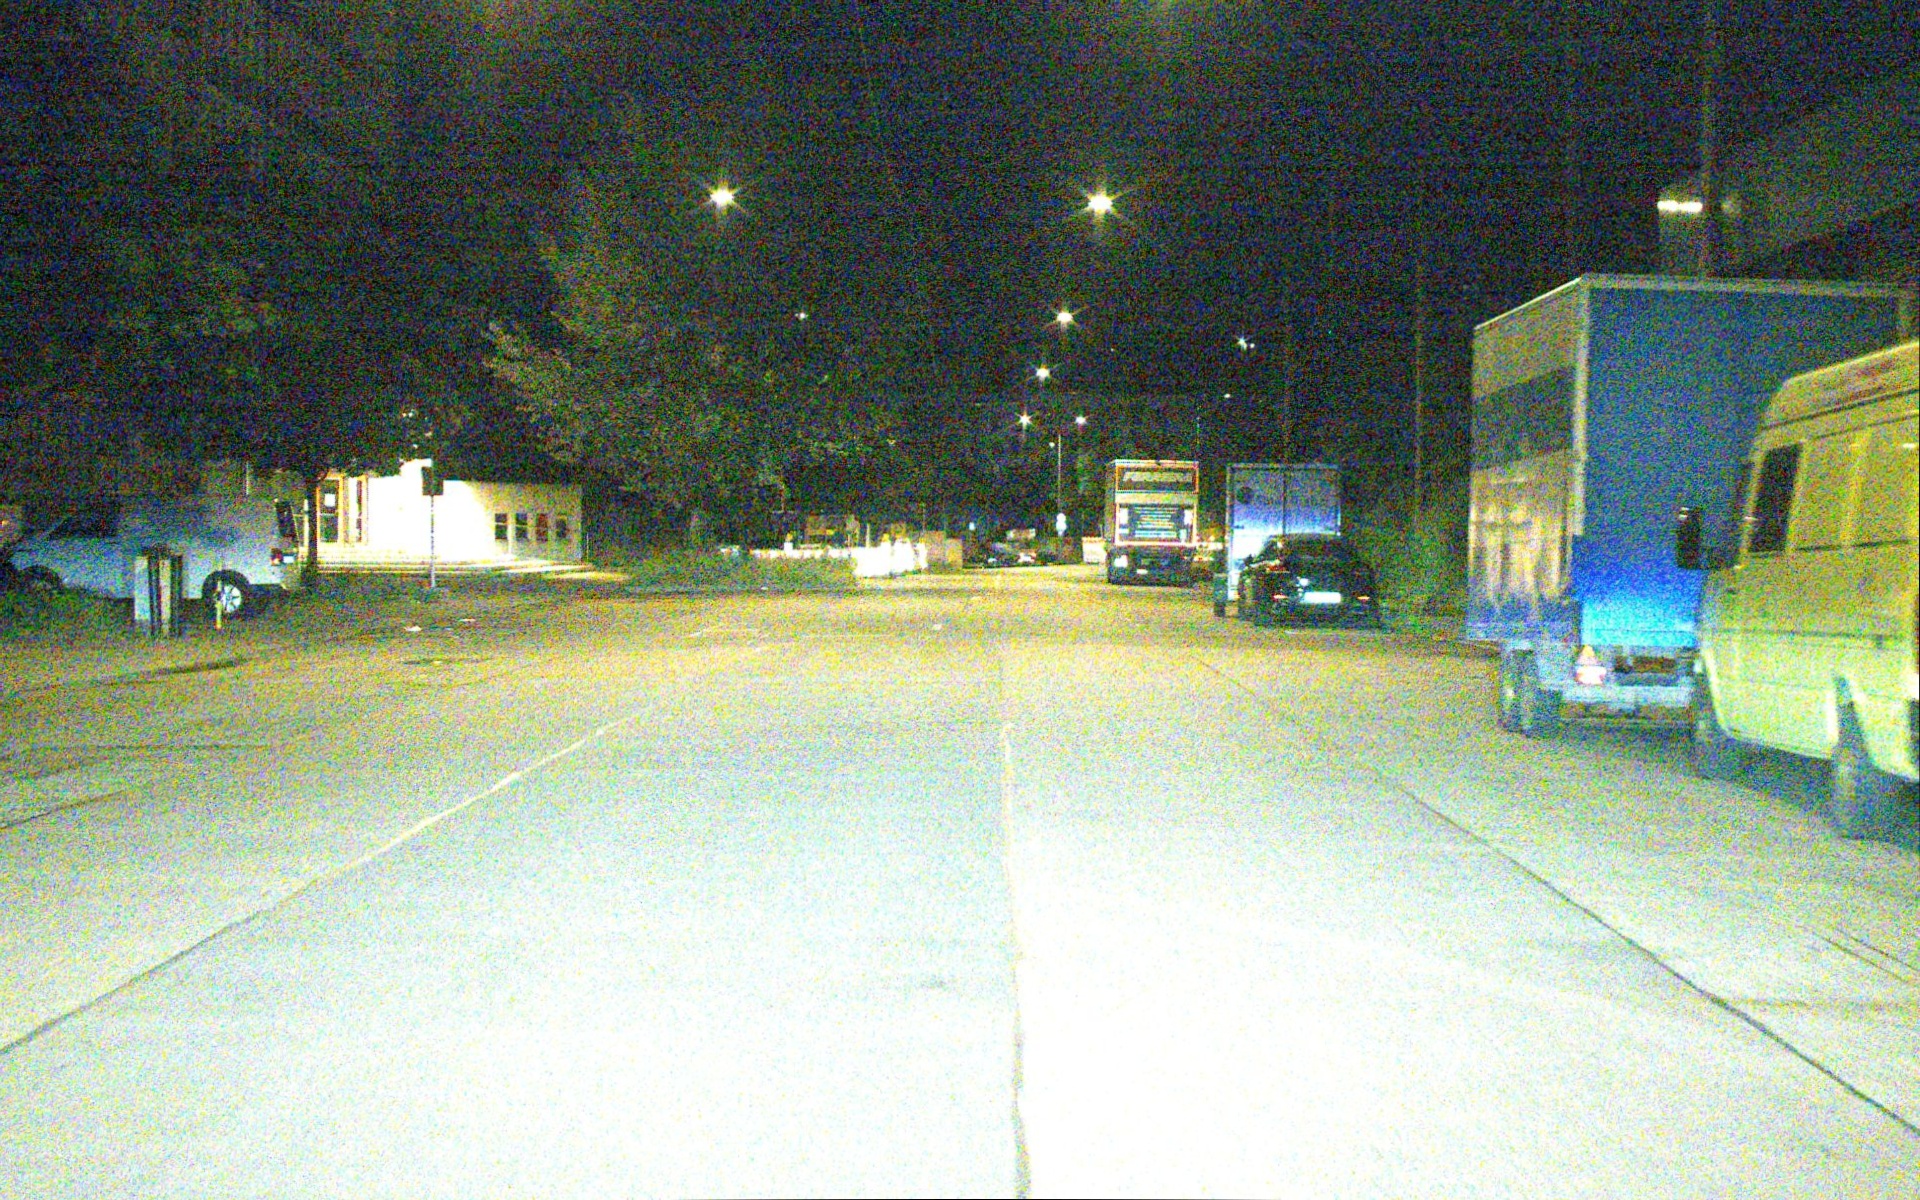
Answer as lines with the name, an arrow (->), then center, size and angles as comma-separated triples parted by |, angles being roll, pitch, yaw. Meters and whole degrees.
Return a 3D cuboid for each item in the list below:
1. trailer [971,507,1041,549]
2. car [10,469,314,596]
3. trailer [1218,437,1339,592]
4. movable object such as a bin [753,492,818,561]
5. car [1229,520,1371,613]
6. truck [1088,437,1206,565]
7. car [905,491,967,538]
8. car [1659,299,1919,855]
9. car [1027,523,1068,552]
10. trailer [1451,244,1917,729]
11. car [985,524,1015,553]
trailer -> 2.492, -3.903, 187.247 | 1.559, 2.153, 5.222 | -2, 1, -26
car -> -12.844, -1.105, 55.511 | 4.432, 1.965, 2.000 | 1, 2, 0
trailer -> 5.617, -1.540, 61.064 | 1.994, 2.642, 4.000 | 1, 2, 4
movable object such as a bin -> -6.424, -2.704, 126.556 | 1.548, 2.459, 2.840 | -2, 1, -20
car -> 5.415, -0.571, 55.214 | 1.726, 1.382, 4.677 | 1, 2, -1
truck -> 5.873, -3.110, 109.528 | 3.324, 3.855, 9.328 | 1, 1, 1
car -> -1.639, -5.943, 238.976 | 2.520, 3.160, 7.133 | -2, 1, 14
car -> 5.406, -0.192, 18.635 | 1.940, 2.539, 6.646 | 1, 2, 1
car -> 5.877, -4.185, 230.680 | 1.722, 1.815, 3.997 | 1, 0, 16
trailer -> 5.298, -0.849, 25.859 | 2.398, 3.314, 4.363 | 1, 2, -2
car -> 2.370, -3.614, 202.126 | 1.721, 1.655, 4.000 | 1, 0, 1
